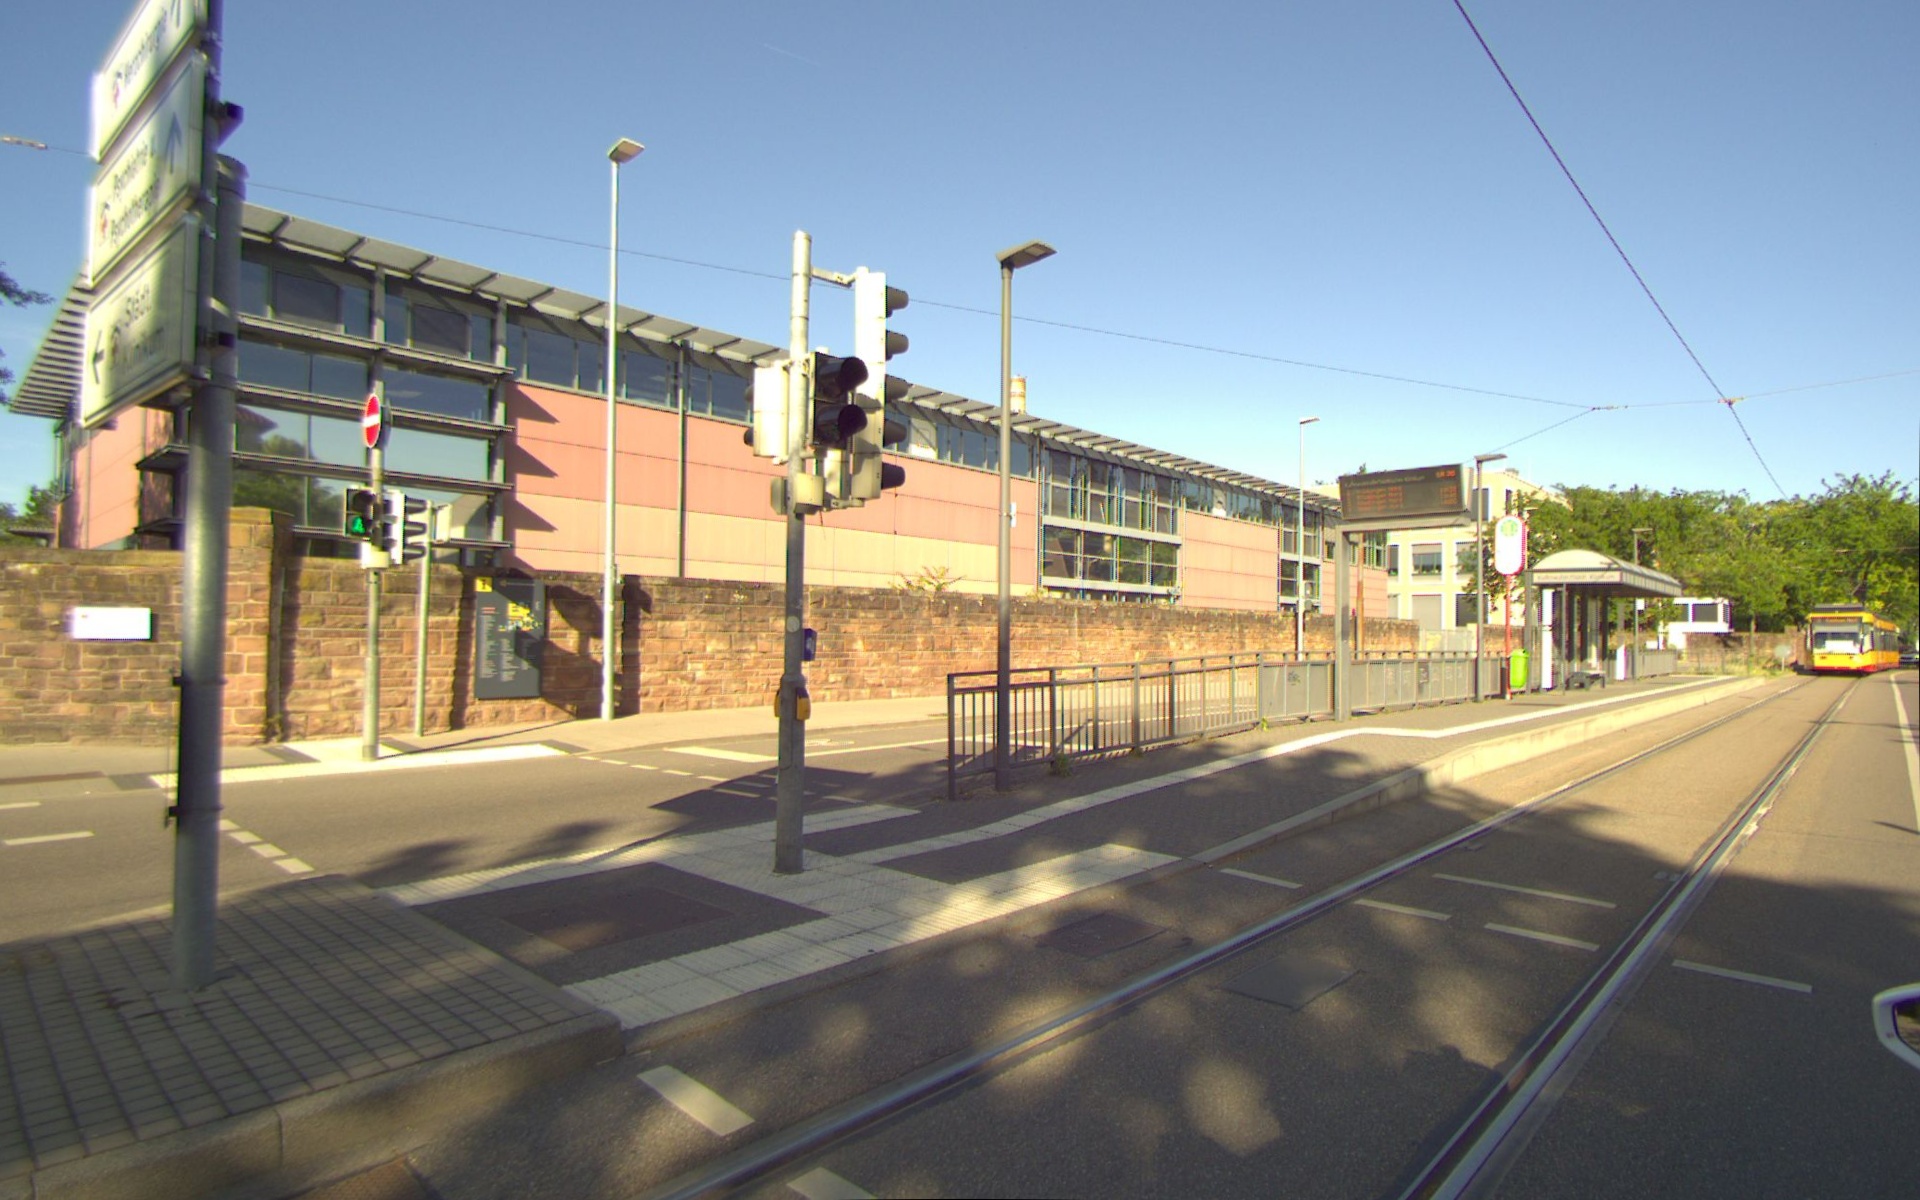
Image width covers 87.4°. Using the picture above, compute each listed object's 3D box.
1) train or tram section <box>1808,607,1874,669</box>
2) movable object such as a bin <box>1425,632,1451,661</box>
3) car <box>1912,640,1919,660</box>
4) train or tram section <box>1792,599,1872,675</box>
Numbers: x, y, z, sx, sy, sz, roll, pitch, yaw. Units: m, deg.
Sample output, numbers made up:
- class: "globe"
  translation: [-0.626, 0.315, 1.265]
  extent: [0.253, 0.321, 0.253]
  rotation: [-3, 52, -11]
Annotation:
- class: "train or tram section"
  translation: [52.227, 2.234, 59.479]
  extent: [2.773, 3.505, 6.631]
  rotation: [0, -2, 43]
- class: "movable object such as a bin"
  translation: [23.980, 2.330, 50.408]
  extent: [0.871, 1.466, 1.302]
  rotation: [-1, -3, 42]
- class: "car"
  translation: [81.716, 4.231, 84.797]
  extent: [4.180, 1.685, 1.748]
  rotation: [3, -3, -43]
- class: "train or tram section"
  translation: [43.227, 1.812, 49.730]
  extent: [2.773, 3.505, 6.631]
  rotation: [0, -2, 43]
